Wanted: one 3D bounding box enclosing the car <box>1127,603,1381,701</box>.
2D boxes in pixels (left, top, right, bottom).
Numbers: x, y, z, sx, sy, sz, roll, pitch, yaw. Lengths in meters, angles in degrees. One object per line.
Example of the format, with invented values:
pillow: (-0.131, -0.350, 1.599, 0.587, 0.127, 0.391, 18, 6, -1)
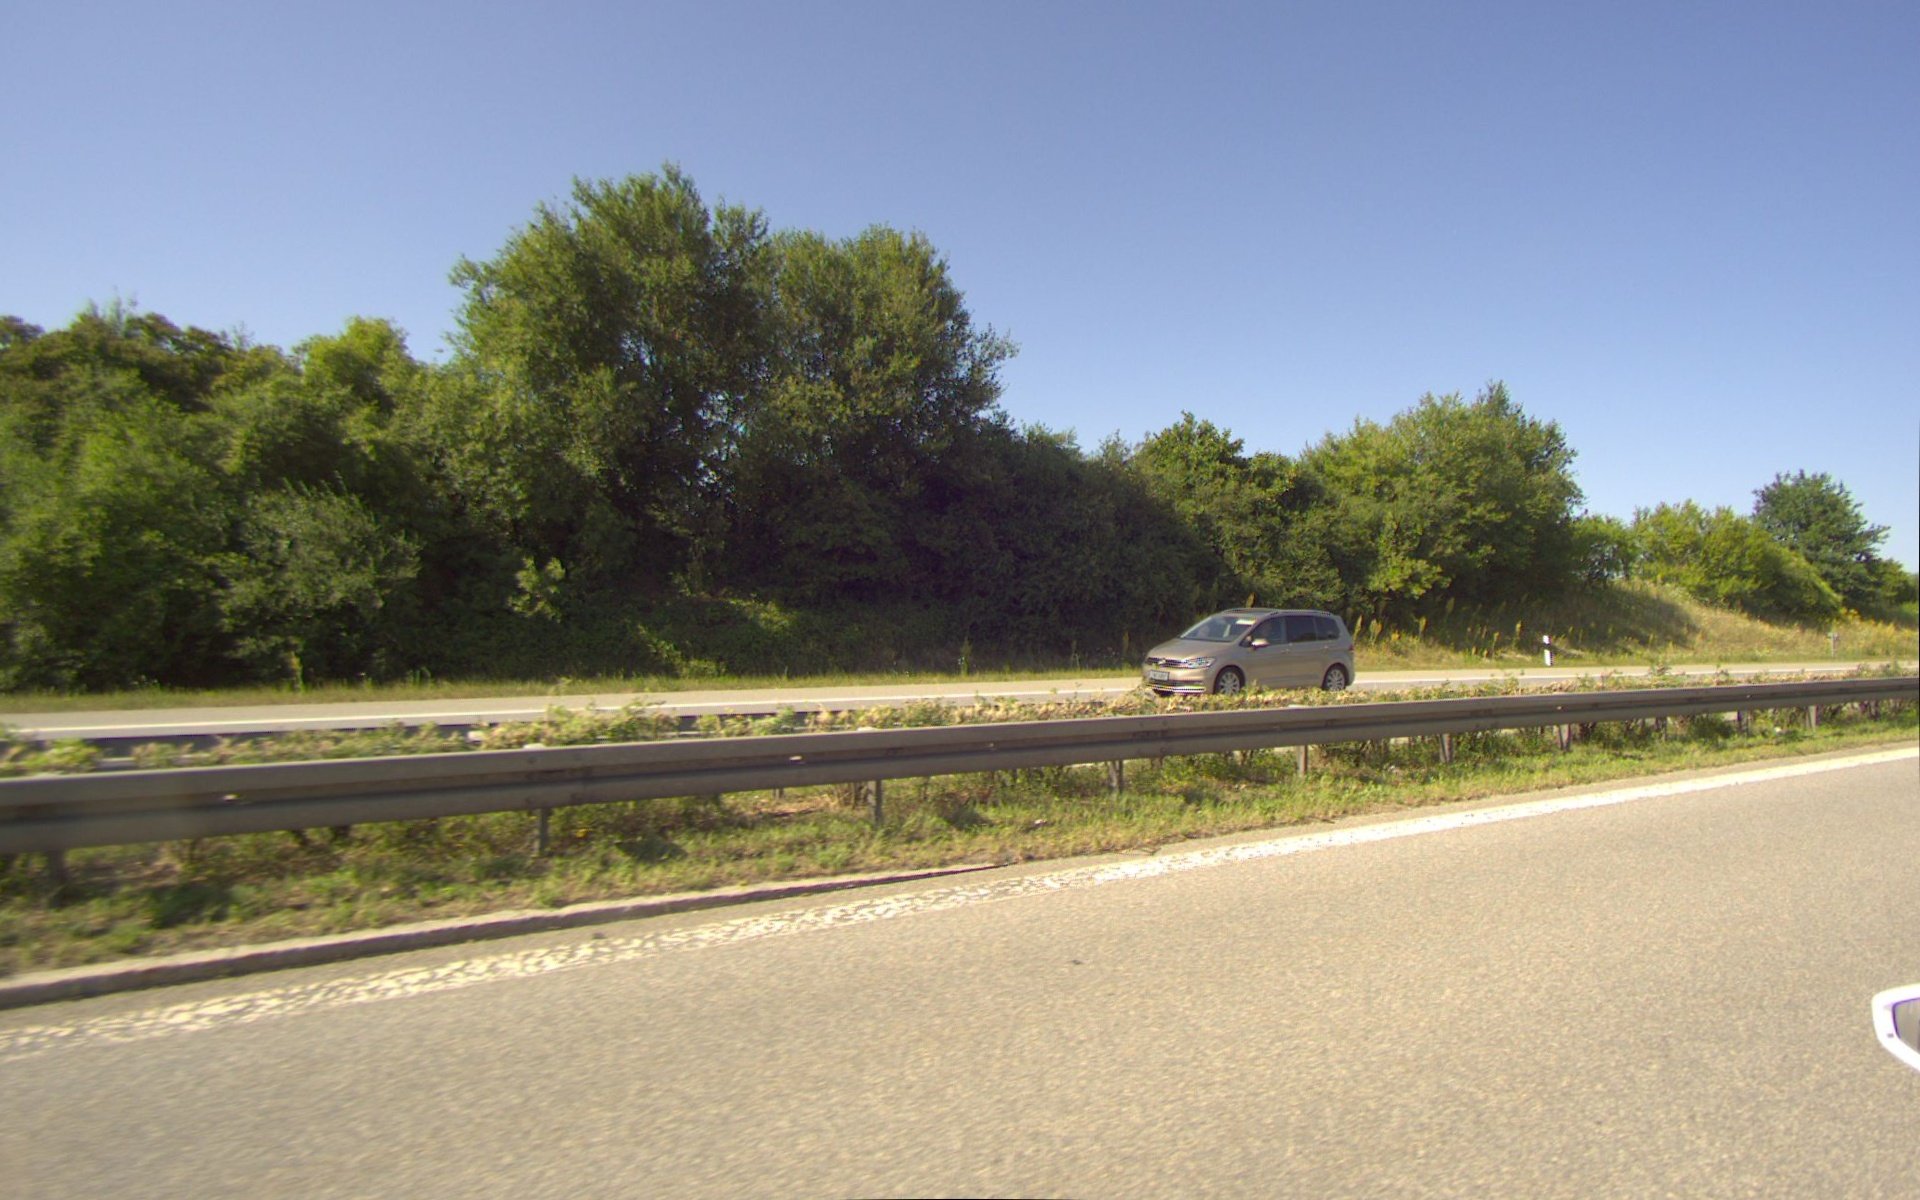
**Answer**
car: (5.527, 0.937, 18.672, 4.736, 1.605, 1.759, 2, 0, -30)
